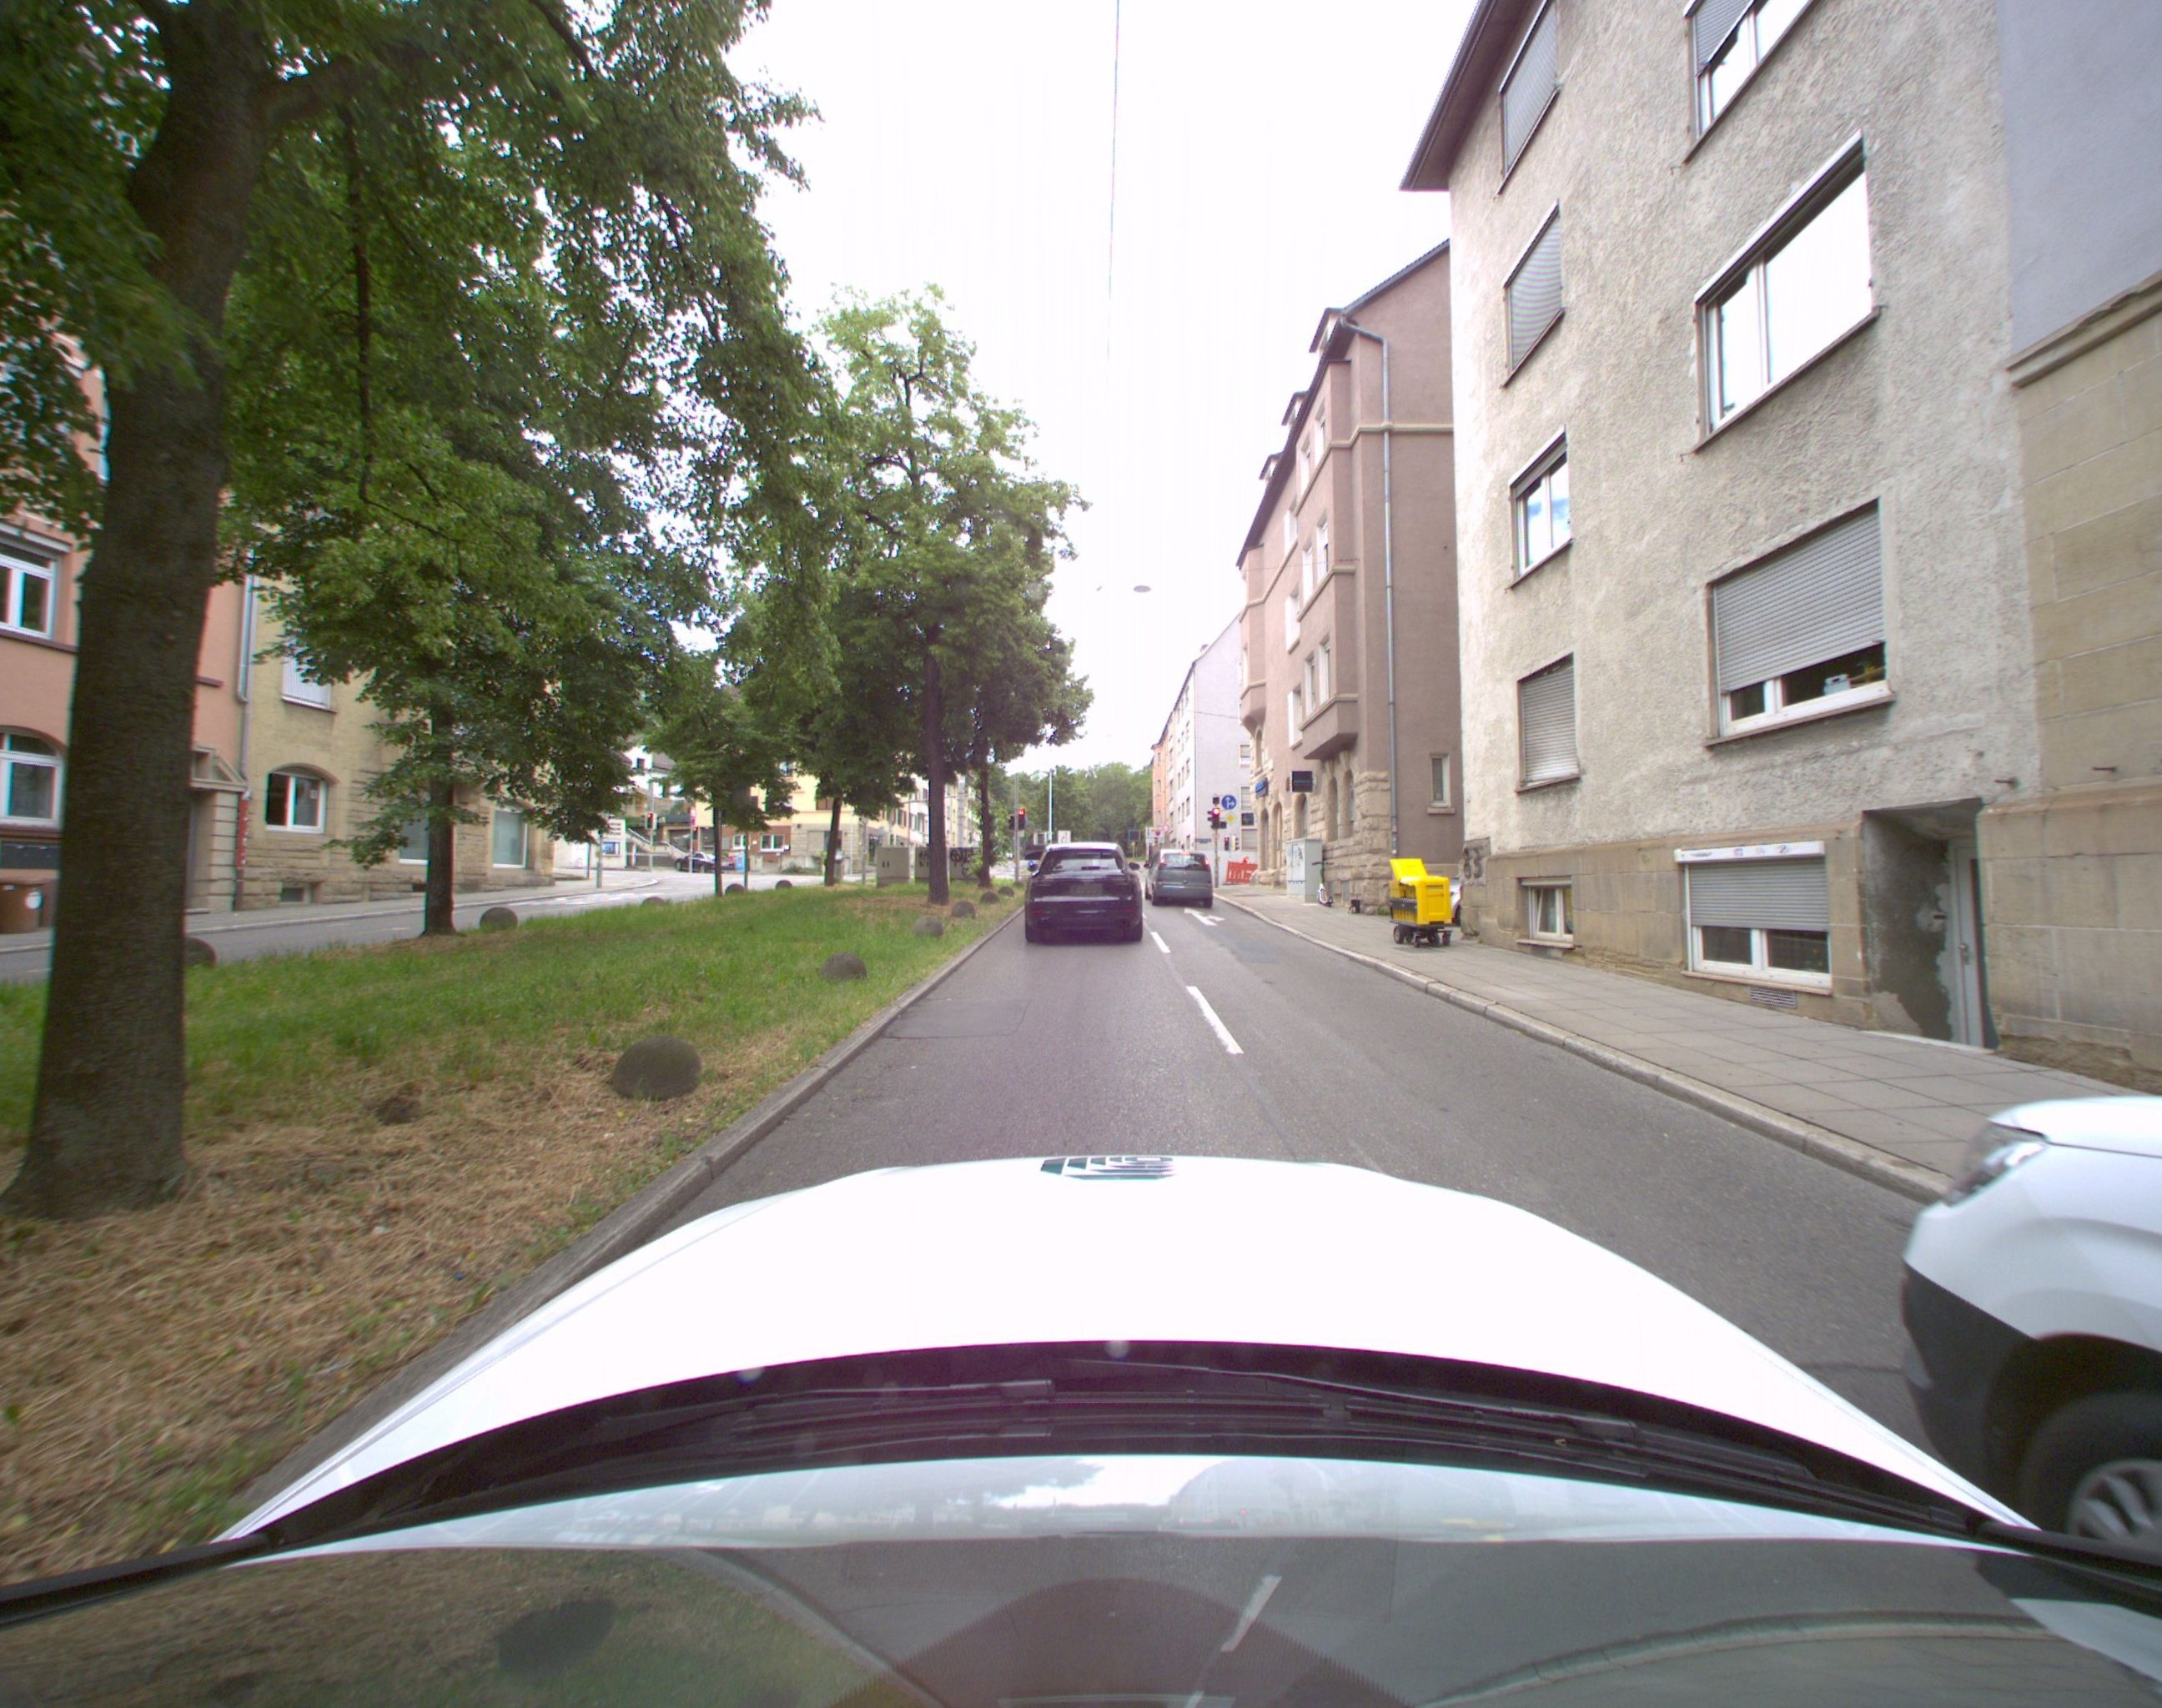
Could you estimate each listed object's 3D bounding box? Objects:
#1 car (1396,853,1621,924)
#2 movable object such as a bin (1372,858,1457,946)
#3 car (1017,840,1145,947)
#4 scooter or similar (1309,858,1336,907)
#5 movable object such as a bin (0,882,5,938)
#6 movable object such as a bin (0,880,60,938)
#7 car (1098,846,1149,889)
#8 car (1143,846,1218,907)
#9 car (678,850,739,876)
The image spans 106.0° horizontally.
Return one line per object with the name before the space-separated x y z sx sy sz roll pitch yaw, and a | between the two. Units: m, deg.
car | 9.231 0.712 17.826 3.973 1.403 1.801 0 3 1
movable object such as a bin | 5.711 0.785 14.050 0.717 1.421 1.692 -1 -1 -1
car | 0.075 0.592 14.828 1.987 1.652 4.002 -1 1 2
scooter or similar | 6.365 0.739 21.460 0.399 1.188 1.356 -2 2 5
movable object such as a bin | -17.682 0.904 12.833 0.607 0.904 0.601 1 0 -3
movable object such as a bin | -17.656 0.907 13.520 0.607 0.904 0.601 1 0 -3
car | 1.736 0.550 33.916 1.987 1.653 4.002 -1 0 2
car | 2.849 0.596 23.937 1.746 1.593 3.630 2 0 0
car | -24.692 0.607 53.938 3.948 1.665 1.894 -1 -2 34
